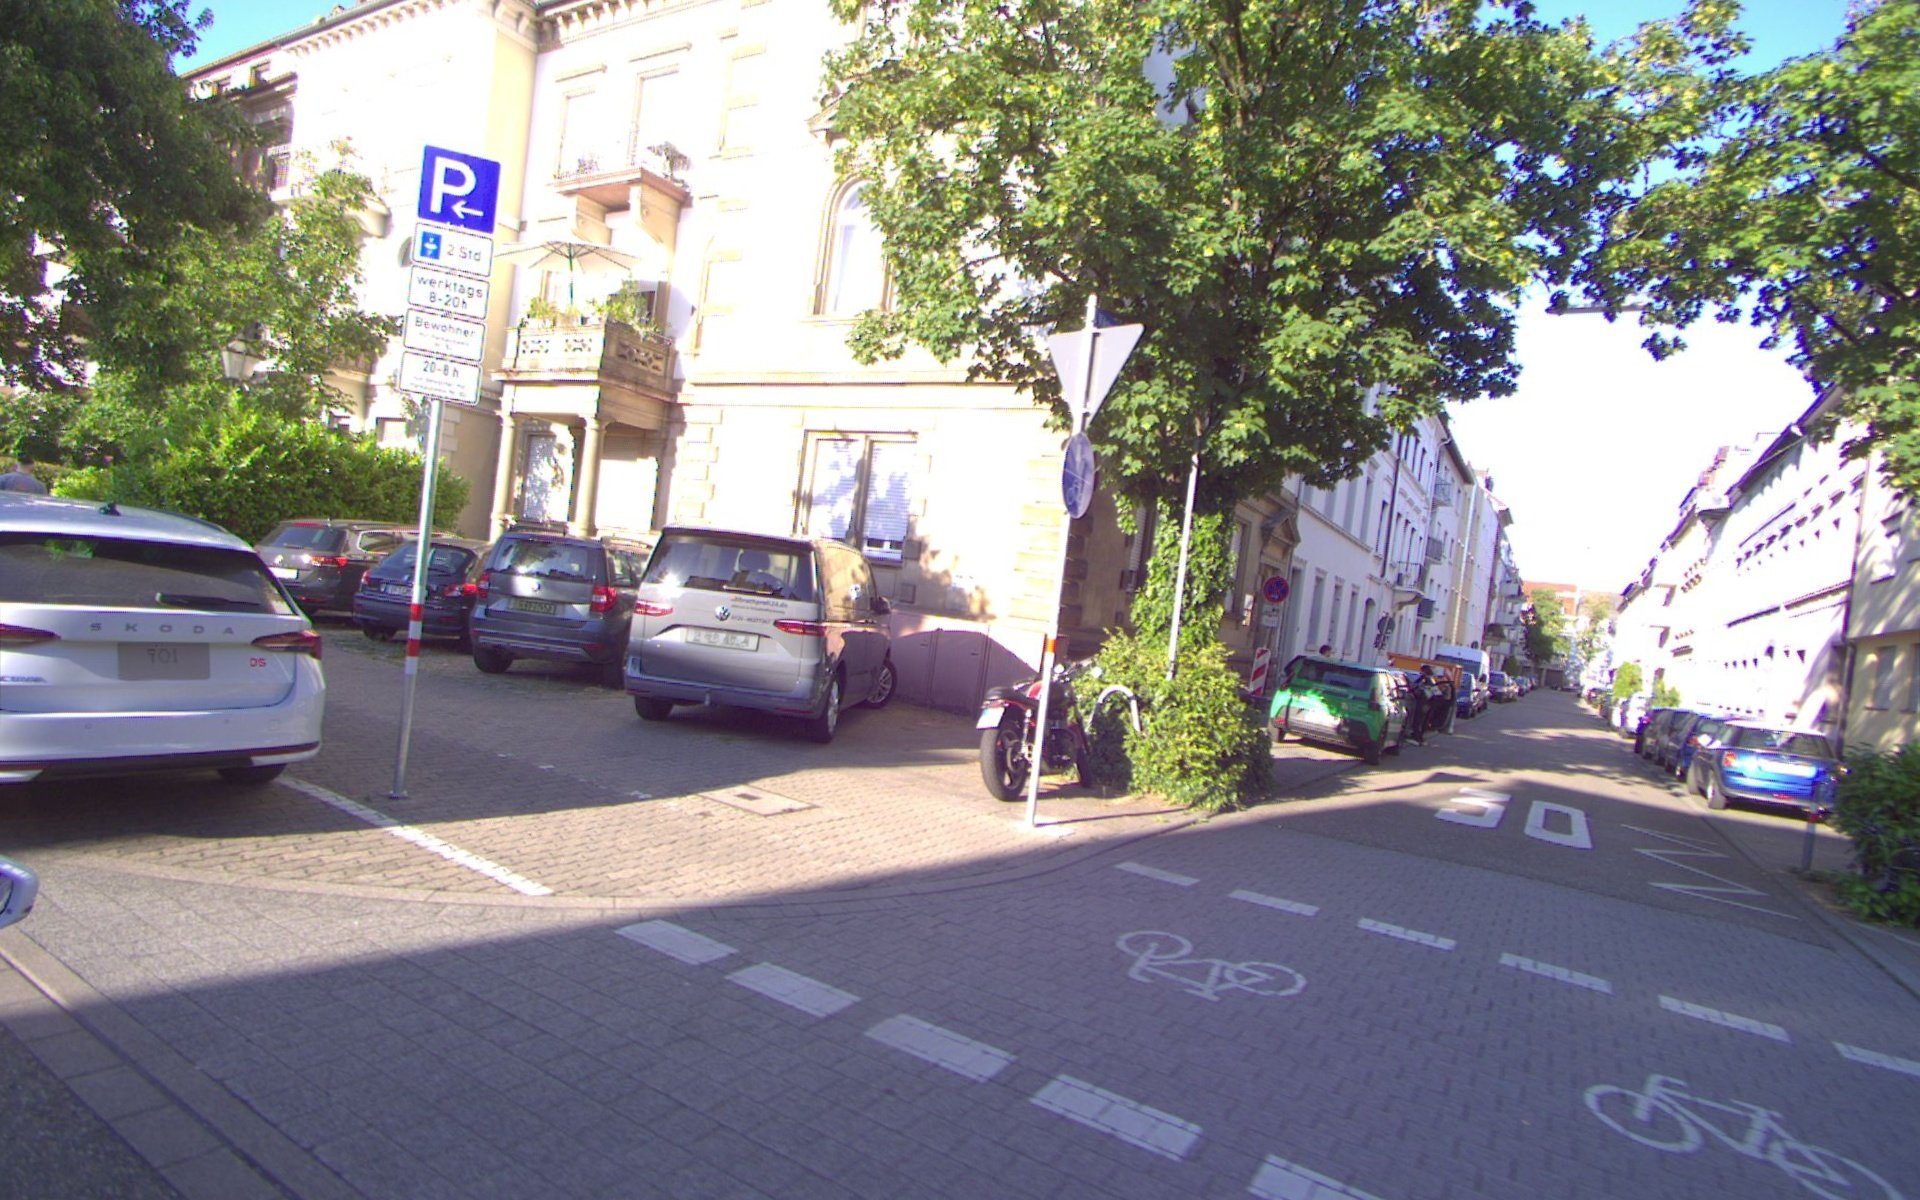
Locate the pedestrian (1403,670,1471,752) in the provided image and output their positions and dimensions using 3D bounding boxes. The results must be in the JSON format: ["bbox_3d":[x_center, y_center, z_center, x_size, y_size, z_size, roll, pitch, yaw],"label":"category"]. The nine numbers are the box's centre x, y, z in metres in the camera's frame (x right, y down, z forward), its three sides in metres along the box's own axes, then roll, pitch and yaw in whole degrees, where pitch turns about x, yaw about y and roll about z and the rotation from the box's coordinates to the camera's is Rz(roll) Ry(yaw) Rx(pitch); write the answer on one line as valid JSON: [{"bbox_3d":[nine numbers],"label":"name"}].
[{"bbox_3d":[9.903,2.282,20.858,0.996,1.509,1.229,8,1,31],"label":"pedestrian"}]

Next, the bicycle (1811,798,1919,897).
[{"bbox_3d":[9.013,2.428,9.857,0.898,0.752,0.427,8,1,33],"label":"bicycle"}]

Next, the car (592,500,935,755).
[{"bbox_3d":[-1.750,0.282,10.961,1.884,1.923,4.942,7,0,9],"label":"car"}]

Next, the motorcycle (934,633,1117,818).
[{"bbox_3d":[0.629,0.972,8.462,0.775,1.255,2.162,7,0,21],"label":"motorcycle"}]

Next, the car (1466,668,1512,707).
[{"bbox_3d":[31.139,5.157,59.165,1.967,1.839,4.576,8,-2,32],"label":"car"}]

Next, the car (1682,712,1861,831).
[{"bbox_3d":[13.190,2.707,16.597,1.711,1.376,3.991,6,-1,32],"label":"car"}]

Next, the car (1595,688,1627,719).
[{"bbox_3d":[49.528,7.920,76.614,1.735,2.036,3.995,8,-2,32],"label":"car"}]

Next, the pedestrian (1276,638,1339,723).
[{"bbox_3d":[7.400,1.714,21.440,0.554,1.664,0.944,6,1,-37],"label":"pedestrian"}]

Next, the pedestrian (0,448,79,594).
[{"bbox_3d":[-12.514,-1.057,13.310,1.070,1.796,0.822,8,1,28],"label":"pedestrian"}]

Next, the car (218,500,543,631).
[{"bbox_3d":[-8.553,-0.459,15.368,1.758,1.530,4.250,8,2,13],"label":"car"}]

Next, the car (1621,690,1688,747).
[{"bbox_3d":[26.129,4.415,37.953,1.710,1.770,3.991,8,0,32],"label":"car"}]

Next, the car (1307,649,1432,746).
[{"bbox_3d":[8.787,2.030,21.399,1.742,1.559,3.994,11,1,30],"label":"car"}]

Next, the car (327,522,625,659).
[{"bbox_3d":[-6.610,-0.135,14.304,1.684,1.460,4.098,7,2,8],"label":"car"}]

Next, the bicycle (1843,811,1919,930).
[{"bbox_3d":[7.724,2.158,7.556,1.506,0.777,0.485,7,1,33],"label":"bicycle"}]

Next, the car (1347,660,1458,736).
[{"bbox_3d":[11.421,2.473,25.792,1.967,1.504,3.992,8,0,31],"label":"car"}]

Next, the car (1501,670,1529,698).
[{"bbox_3d":[45.050,6.794,81.572,1.734,2.038,3.993,8,0,30],"label":"car"}]

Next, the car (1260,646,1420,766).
[{"bbox_3d":[6.577,1.737,17.139,1.742,1.502,3.994,11,1,30],"label":"car"}]

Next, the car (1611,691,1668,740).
[{"bbox_3d":[29.457,4.971,43.696,1.710,1.770,3.991,8,0,32],"label":"car"}]

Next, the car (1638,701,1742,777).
[{"bbox_3d":[18.382,3.444,25.487,1.711,1.472,3.991,6,-1,32],"label":"car"}]

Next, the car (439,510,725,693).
[{"bbox_3d":[-4.467,0.008,12.644,1.754,1.721,4.098,7,1,2],"label":"car"}]

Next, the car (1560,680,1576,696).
[{"bbox_3d":[87.750,12.719,145.244,1.735,2.038,3.991,8,0,32],"label":"car"}]

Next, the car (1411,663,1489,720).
[{"bbox_3d":[17.846,3.289,36.515,1.967,1.650,4.573,8,0,31],"label":"car"}]

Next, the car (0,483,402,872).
[{"bbox_3d":[-5.321,0.117,5.585,4.545,1.496,1.823,7,0,32],"label":"car"}]

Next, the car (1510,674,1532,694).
[{"bbox_3d":[66.349,9.935,118.938,1.966,2.038,3.994,8,0,29],"label":"car"}]

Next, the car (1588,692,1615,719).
[{"bbox_3d":[56.073,9.282,88.005,1.735,2.036,3.995,8,-2,32],"label":"car"}]

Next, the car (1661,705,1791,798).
[{"bbox_3d":[16.133,3.116,21.377,1.711,1.472,3.991,6,-1,32],"label":"car"}]

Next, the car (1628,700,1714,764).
[{"bbox_3d":[20.787,3.806,29.537,1.711,1.472,3.991,6,-1,32],"label":"car"}]

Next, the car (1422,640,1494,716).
[{"bbox_3d":[20.578,3.209,41.468,1.967,2.706,4.572,8,0,31],"label":"car"}]
